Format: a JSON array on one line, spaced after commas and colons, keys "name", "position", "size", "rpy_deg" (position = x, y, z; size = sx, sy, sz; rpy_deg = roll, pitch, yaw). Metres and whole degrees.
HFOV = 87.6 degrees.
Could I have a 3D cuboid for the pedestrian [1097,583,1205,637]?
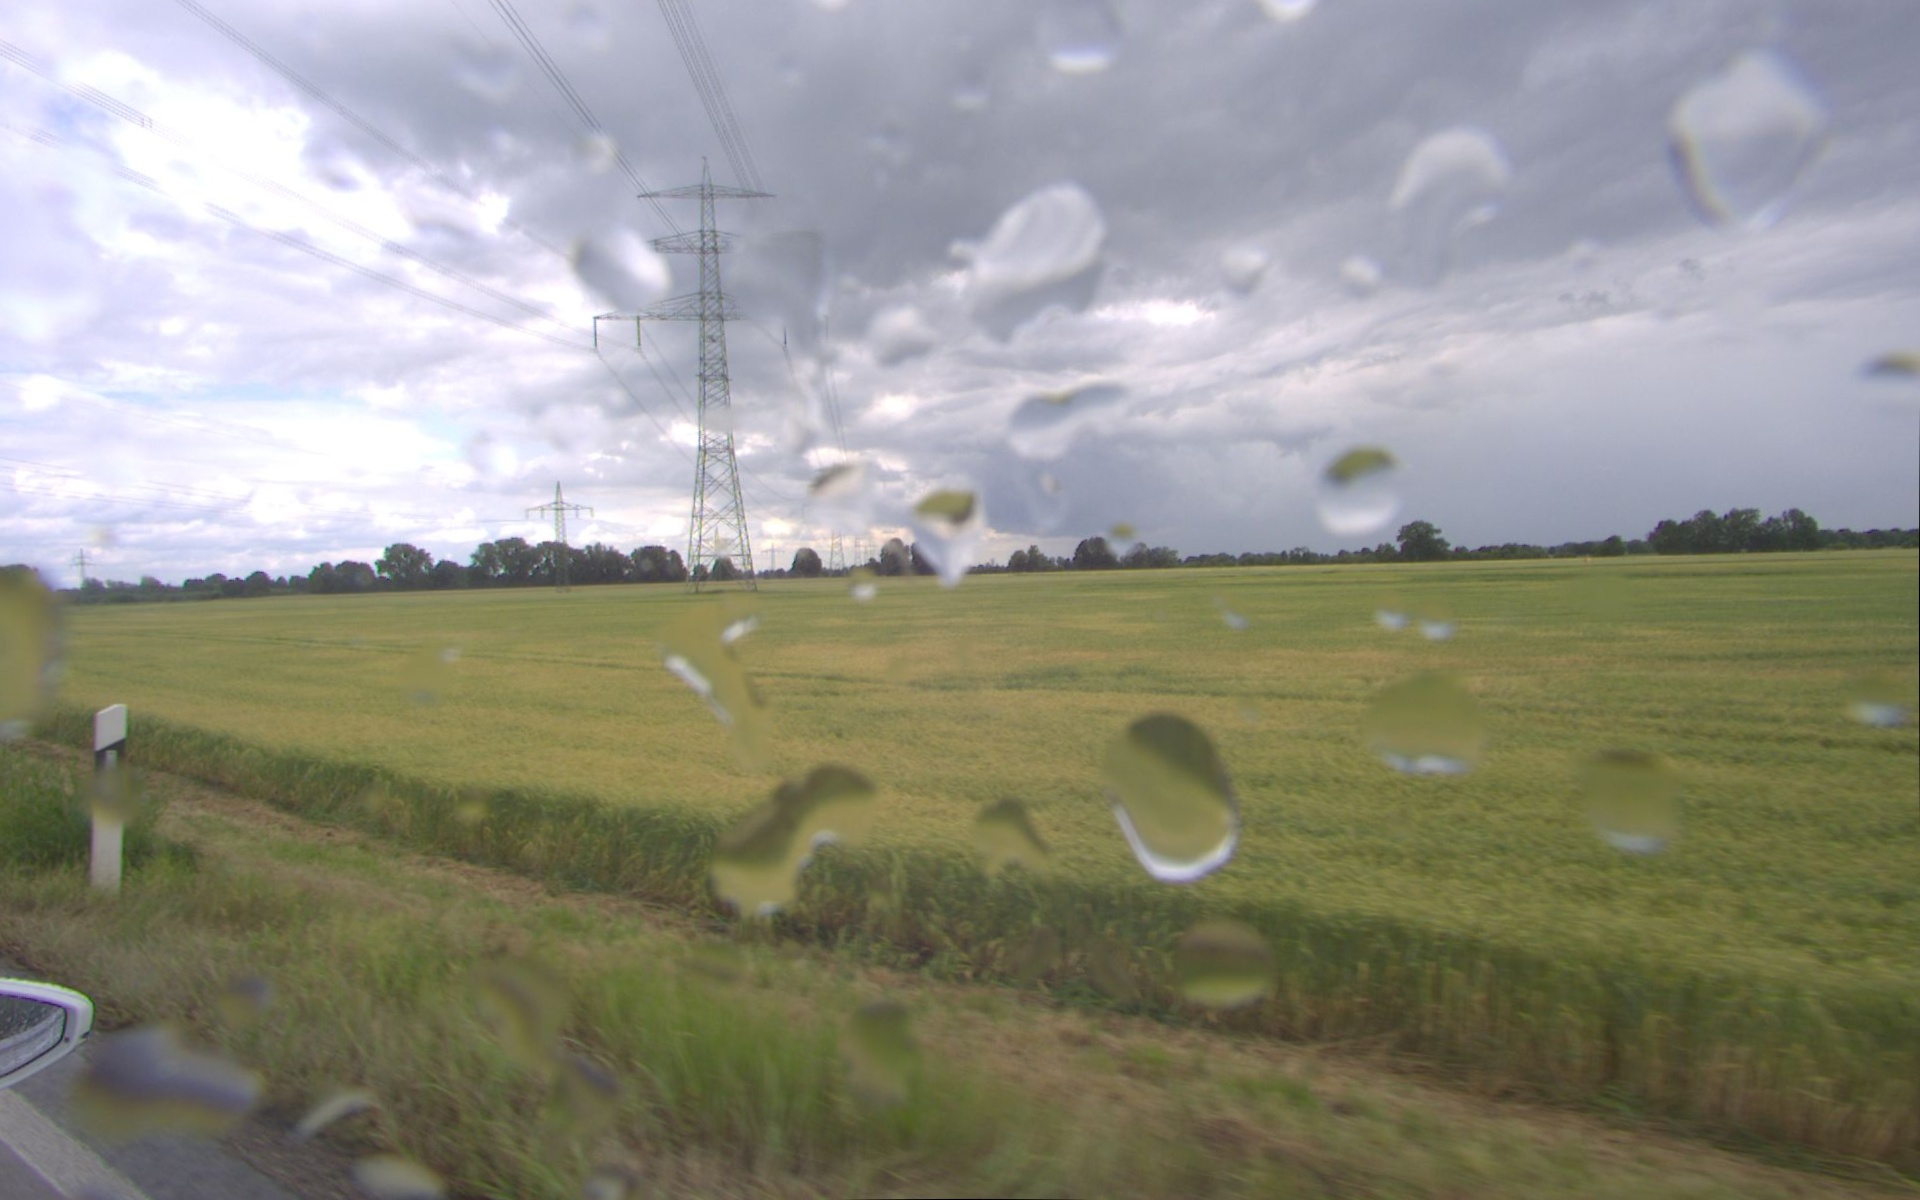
[{"name": "pedestrian", "position": [7.762, 0.428, 40.757], "size": [3.936, 2.039, 1.994], "rpy_deg": [-2, -2, 25]}]
